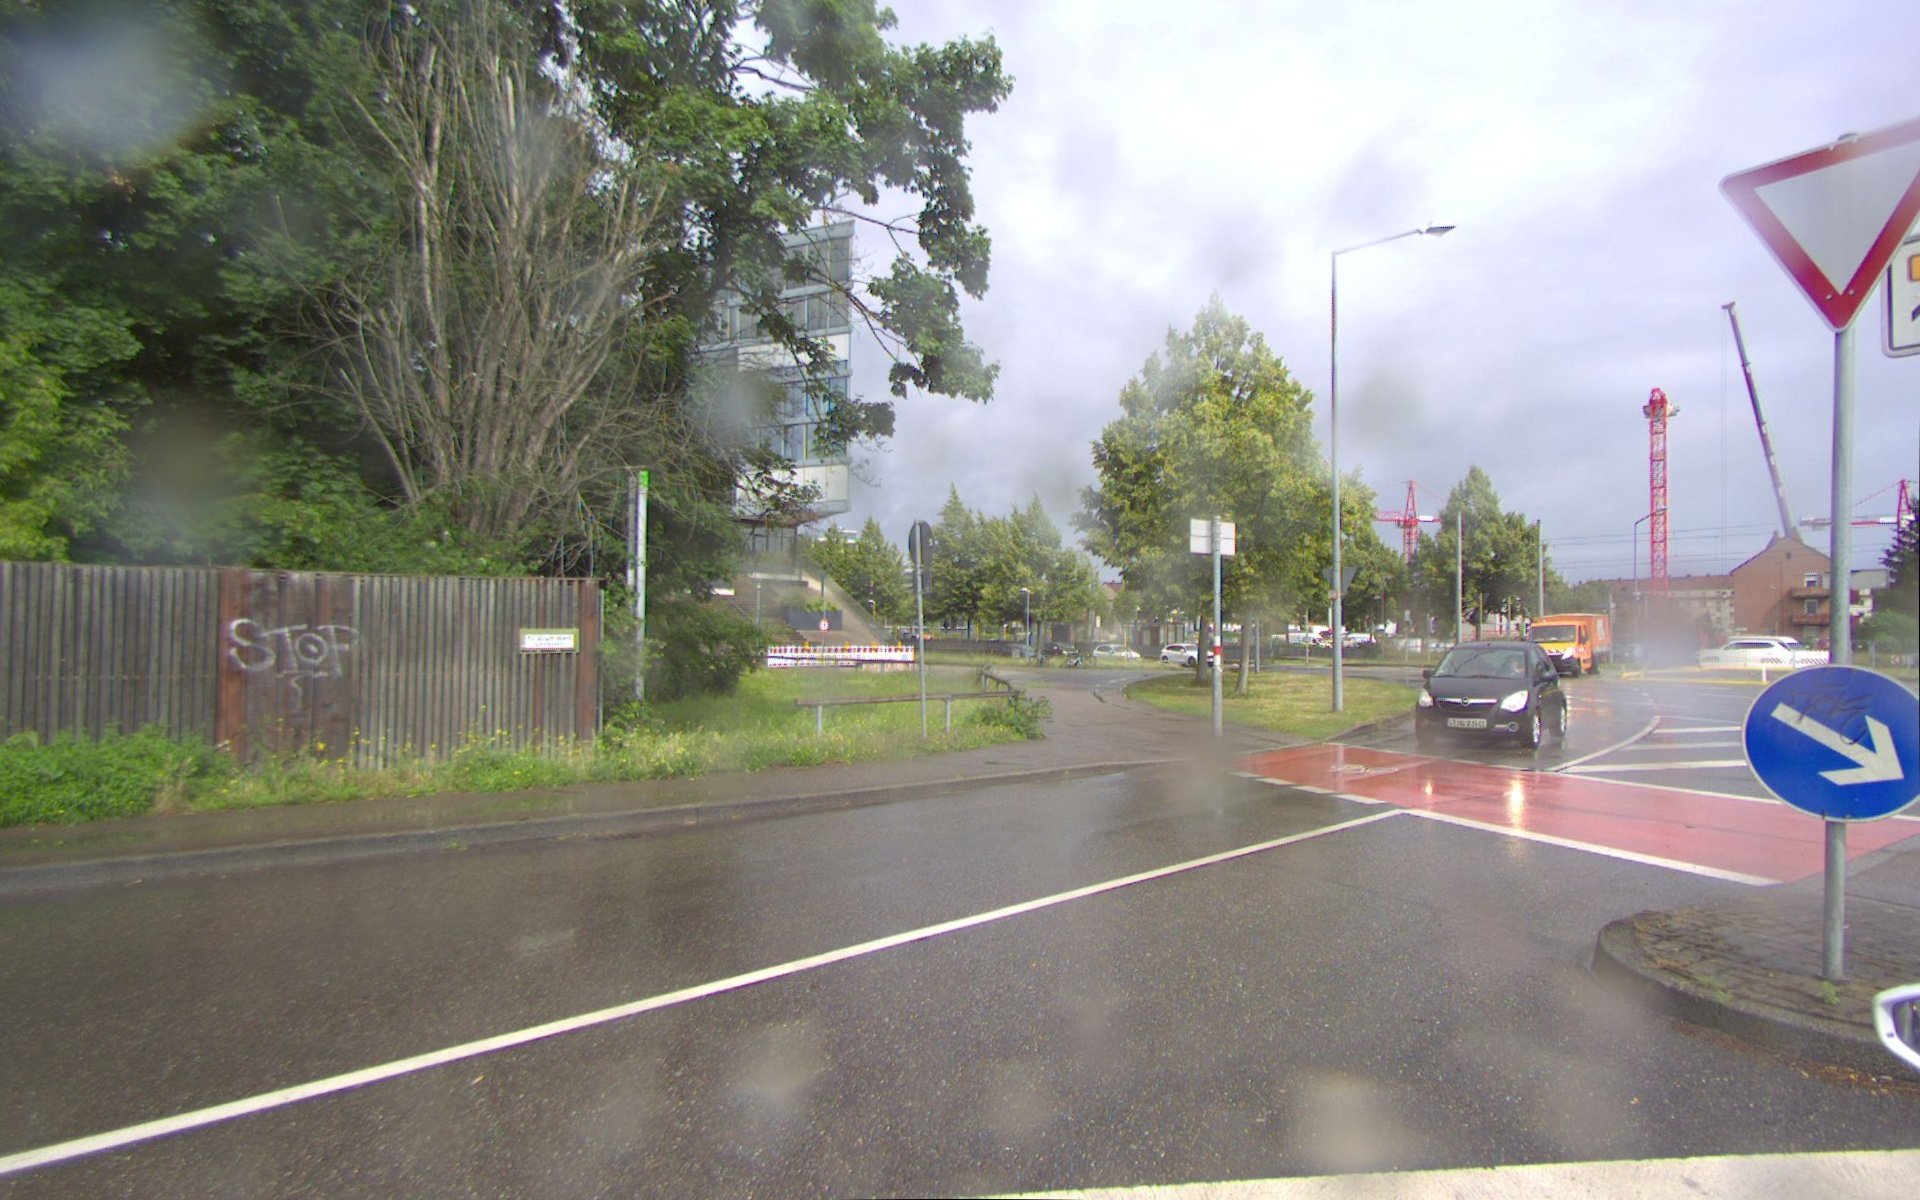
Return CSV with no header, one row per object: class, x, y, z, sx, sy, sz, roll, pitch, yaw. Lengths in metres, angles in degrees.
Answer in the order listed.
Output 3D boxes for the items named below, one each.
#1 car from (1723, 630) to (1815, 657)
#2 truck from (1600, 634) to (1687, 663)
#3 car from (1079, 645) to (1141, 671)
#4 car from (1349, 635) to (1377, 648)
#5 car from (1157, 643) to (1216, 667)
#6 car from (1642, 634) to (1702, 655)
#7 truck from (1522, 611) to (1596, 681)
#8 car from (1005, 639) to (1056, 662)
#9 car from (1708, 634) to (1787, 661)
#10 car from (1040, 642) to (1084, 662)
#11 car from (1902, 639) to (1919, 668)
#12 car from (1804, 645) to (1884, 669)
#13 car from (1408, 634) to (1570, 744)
car,72.488,3.902,90.094,2.013,2.113,6.232,2,0,-22
truck,59.320,4.173,87.349,2.361,2.241,6.074,2,0,-19
car,10.090,3.947,67.965,1.844,1.693,4.438,1,-4,-29
car,57.038,5.896,142.147,1.482,1.745,3.572,1,-2,-30
car,14.771,3.564,65.763,1.704,1.528,3.879,1,-2,-26
car,64.372,4.029,90.868,1.903,1.723,3.976,2,0,-24
truck,25.815,1.937,43.143,2.420,2.762,6.927,-1,-2,33
car,5.359,3.847,76.896,1.844,1.693,4.438,1,-4,-29
car,46.069,2.751,58.838,3.439,1.530,1.497,-1,-1,32
car,8.018,4.067,79.140,1.704,1.528,3.879,1,-2,-26
car,54.620,2.981,55.354,3.603,1.581,1.575,0,-1,15
car,63.938,4.100,72.710,3.919,1.706,2.001,0,-2,5
car,8.532,1.347,16.090,1.609,1.553,3.442,-3,-3,39
